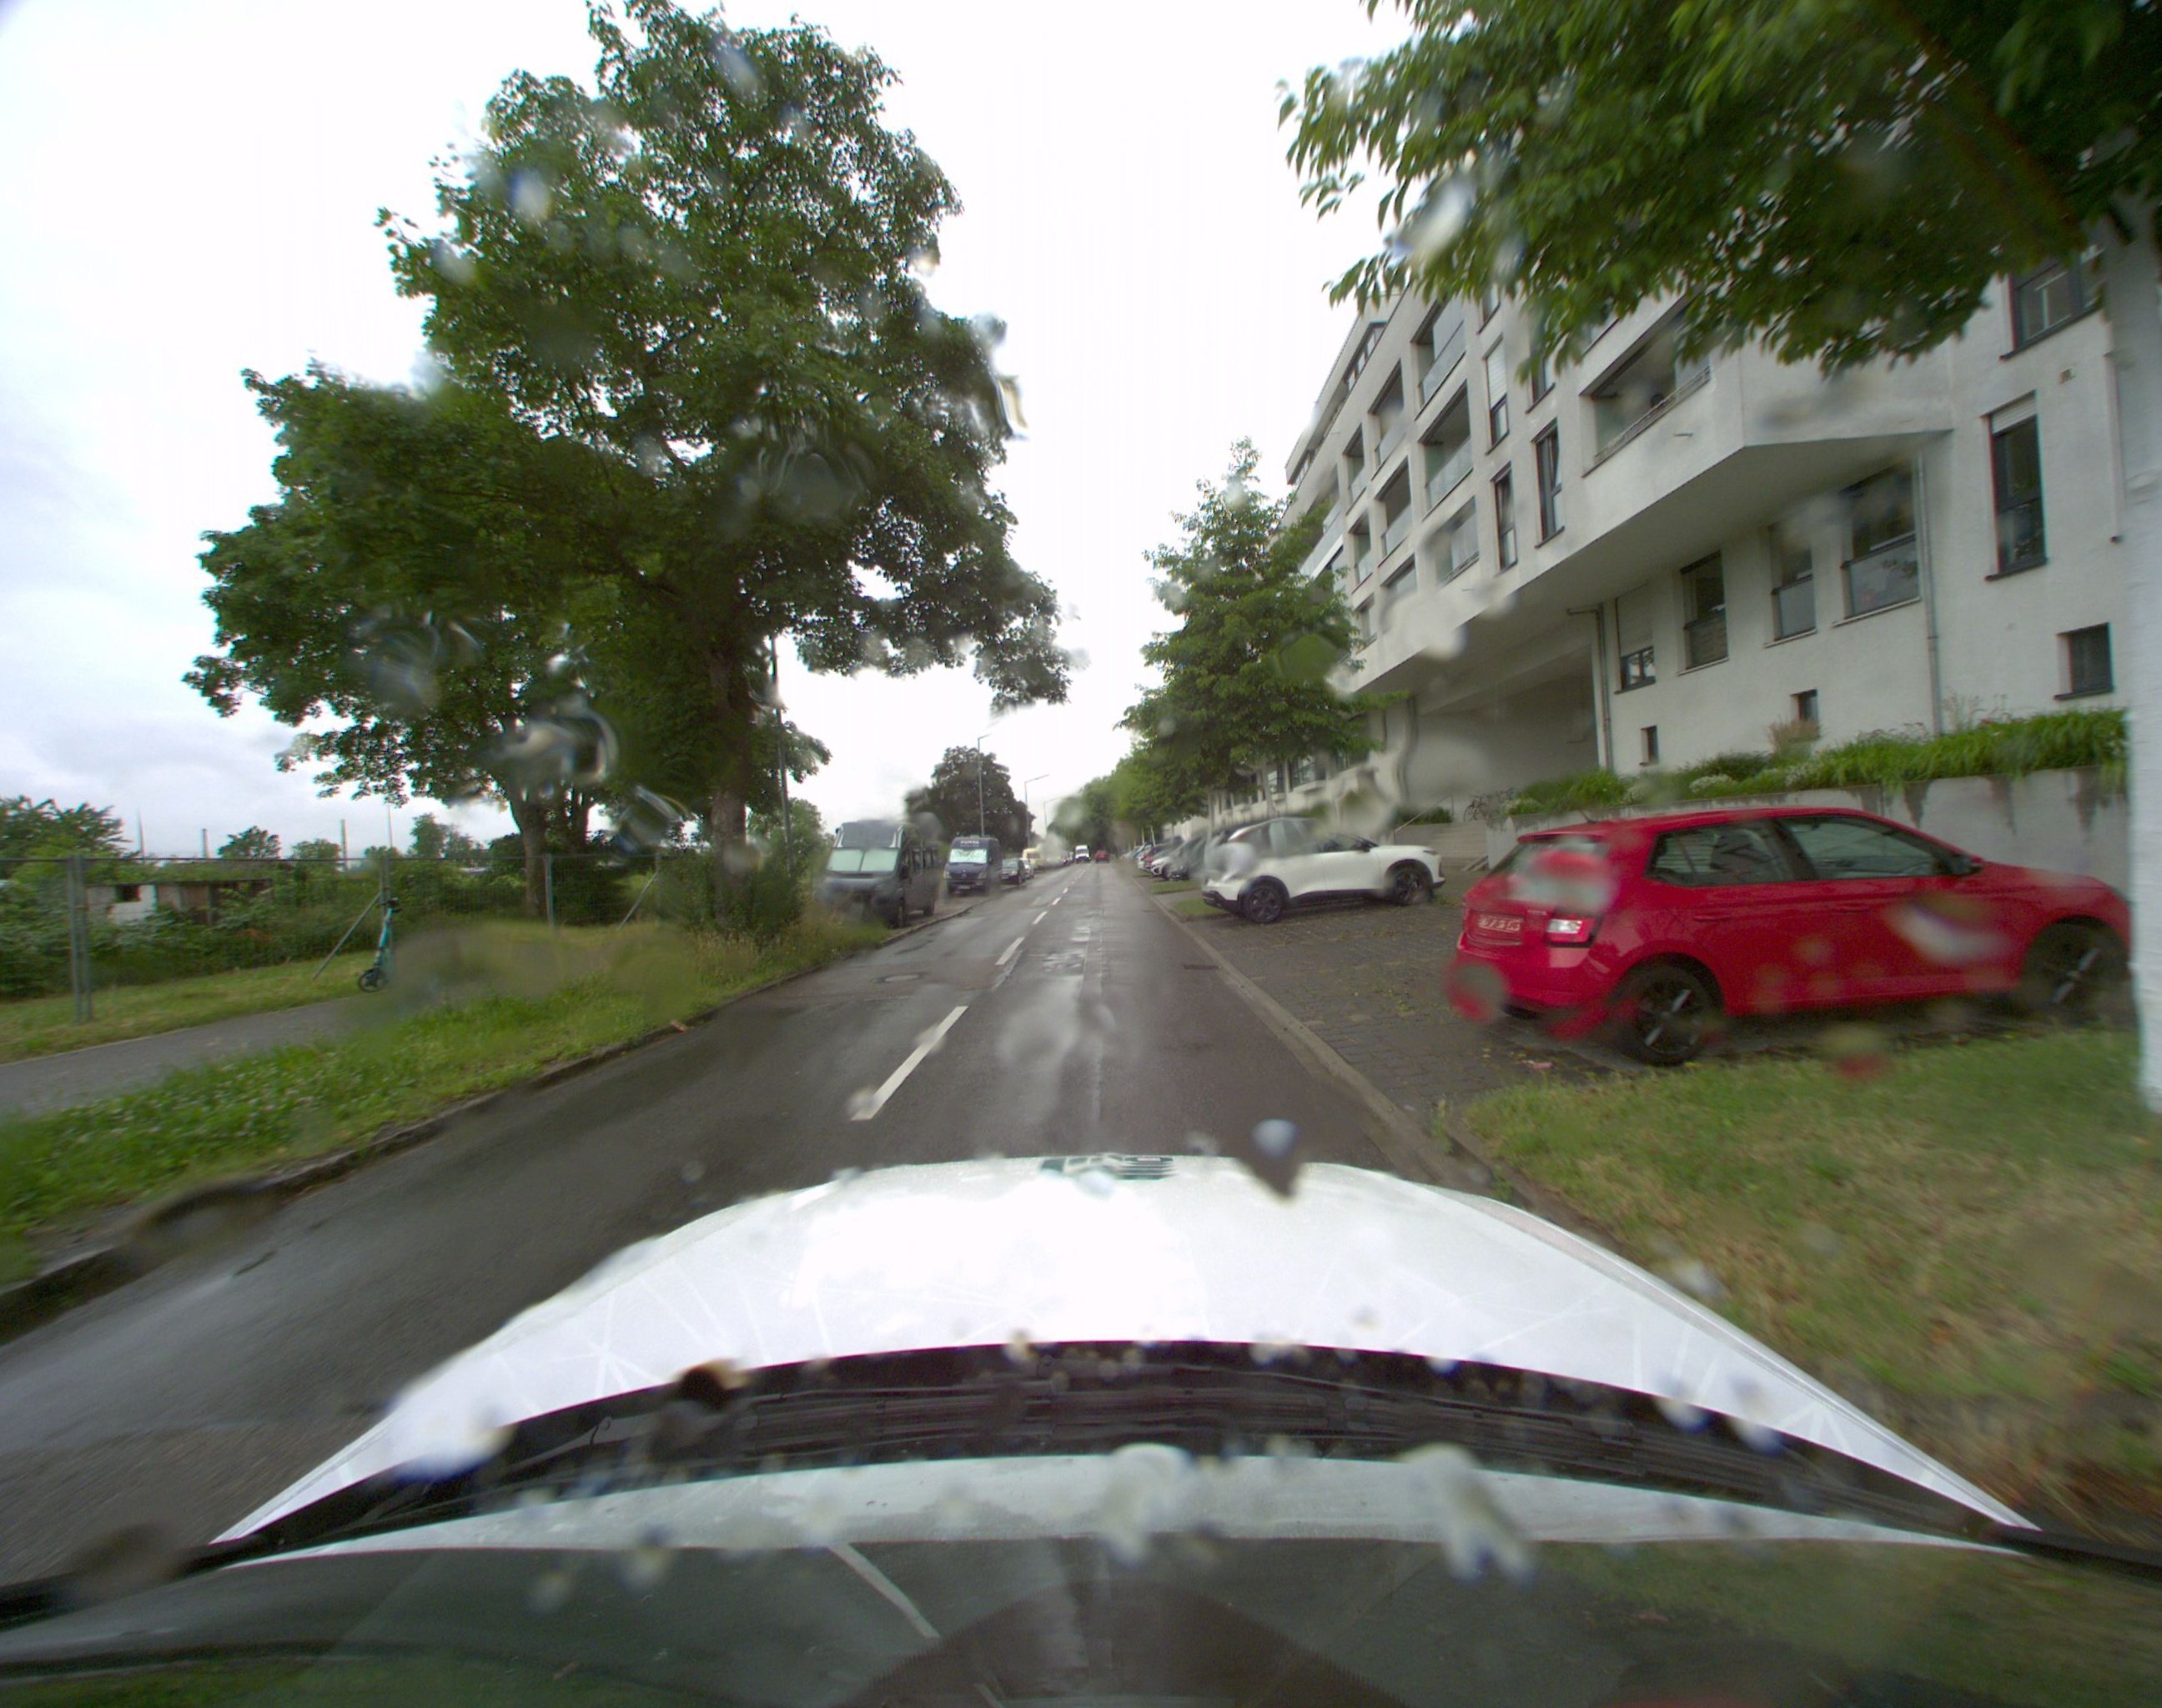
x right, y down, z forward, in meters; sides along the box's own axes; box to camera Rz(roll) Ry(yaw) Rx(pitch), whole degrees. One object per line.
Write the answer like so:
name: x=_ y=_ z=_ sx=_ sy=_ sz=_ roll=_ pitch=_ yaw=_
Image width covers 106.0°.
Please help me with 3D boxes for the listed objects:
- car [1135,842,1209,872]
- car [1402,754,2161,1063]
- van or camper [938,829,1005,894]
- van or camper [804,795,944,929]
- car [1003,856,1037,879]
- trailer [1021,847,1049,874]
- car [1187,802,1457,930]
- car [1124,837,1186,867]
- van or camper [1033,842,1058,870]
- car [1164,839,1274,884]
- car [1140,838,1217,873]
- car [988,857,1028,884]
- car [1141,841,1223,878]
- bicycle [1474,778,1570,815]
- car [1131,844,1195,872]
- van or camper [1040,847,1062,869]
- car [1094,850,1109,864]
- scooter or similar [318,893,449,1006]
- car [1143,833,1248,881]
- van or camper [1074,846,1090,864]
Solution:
car: x=5.541 y=0.185 z=49.974 sx=4.286 sy=1.428 sz=1.636 roll=-5 pitch=0 yaw=-1
car: x=4.656 y=0.331 z=5.729 sx=3.974 sy=1.451 sz=1.821 roll=-6 pitch=-1 yaw=0
van or camper: x=-4.934 y=0.353 z=37.848 sx=2.088 sy=2.715 sz=7.572 roll=-1 pitch=-1 yaw=0
van or camper: x=-5.367 y=0.221 z=22.194 sx=2.087 sy=3.094 sz=6.424 roll=-1 pitch=-1 yaw=0
car: x=-4.153 y=0.900 z=56.514 sx=1.880 sy=1.526 sz=5.110 roll=-1 pitch=0 yaw=1
trailer: x=-4.069 y=0.517 z=72.343 sx=2.052 sy=2.218 sz=5.794 roll=-2 pitch=0 yaw=0
car: x=4.555 y=0.222 z=15.869 sx=4.528 sy=1.685 sz=1.885 roll=-8 pitch=0 yaw=-2
car: x=5.845 y=-0.153 z=64.821 sx=4.608 sy=2.019 sz=1.856 roll=-4 pitch=0 yaw=-3
van or camper: x=-3.642 y=0.190 z=84.849 sx=1.986 sy=2.762 sz=7.901 roll=-2 pitch=0 yaw=2
car: x=5.442 y=0.289 z=32.481 sx=3.977 sy=1.495 sz=1.935 roll=-3 pitch=0 yaw=-3
car: x=5.660 y=0.075 z=47.571 sx=4.150 sy=1.624 sz=1.896 roll=-5 pitch=0 yaw=-2
car: x=-4.402 y=0.949 z=49.743 sx=1.767 sy=1.502 sz=4.830 roll=-1 pitch=0 yaw=2
car: x=5.205 y=0.251 z=42.388 sx=3.973 sy=1.509 sz=1.684 roll=-5 pitch=1 yaw=1
bicycle: x=16.108 y=-2.093 z=29.841 sx=2.933 sy=1.118 sz=0.919 roll=-2 pitch=0 yaw=17
car: x=5.563 y=0.252 z=55.421 sx=4.020 sy=1.499 sz=1.630 roll=-5 pitch=0 yaw=-2
van or camper: x=-3.612 y=0.497 z=99.711 sx=2.181 sy=2.461 sz=6.379 roll=-2 pitch=0 yaw=2
car: x=2.768 y=0.386 z=110.556 sx=1.751 sy=1.706 sz=3.999 roll=-4 pitch=0 yaw=0
scooter or similar: x=-9.344 y=1.238 z=10.972 sx=0.433 sy=1.339 sz=1.412 roll=-4 pitch=0 yaw=2
car: x=5.276 y=0.125 z=37.967 sx=4.463 sy=1.686 sz=1.935 roll=-7 pitch=0 yaw=-1
van or camper: x=0.194 y=0.140 z=121.587 sx=1.986 sy=2.497 sz=7.182 roll=-4 pitch=0 yaw=2
